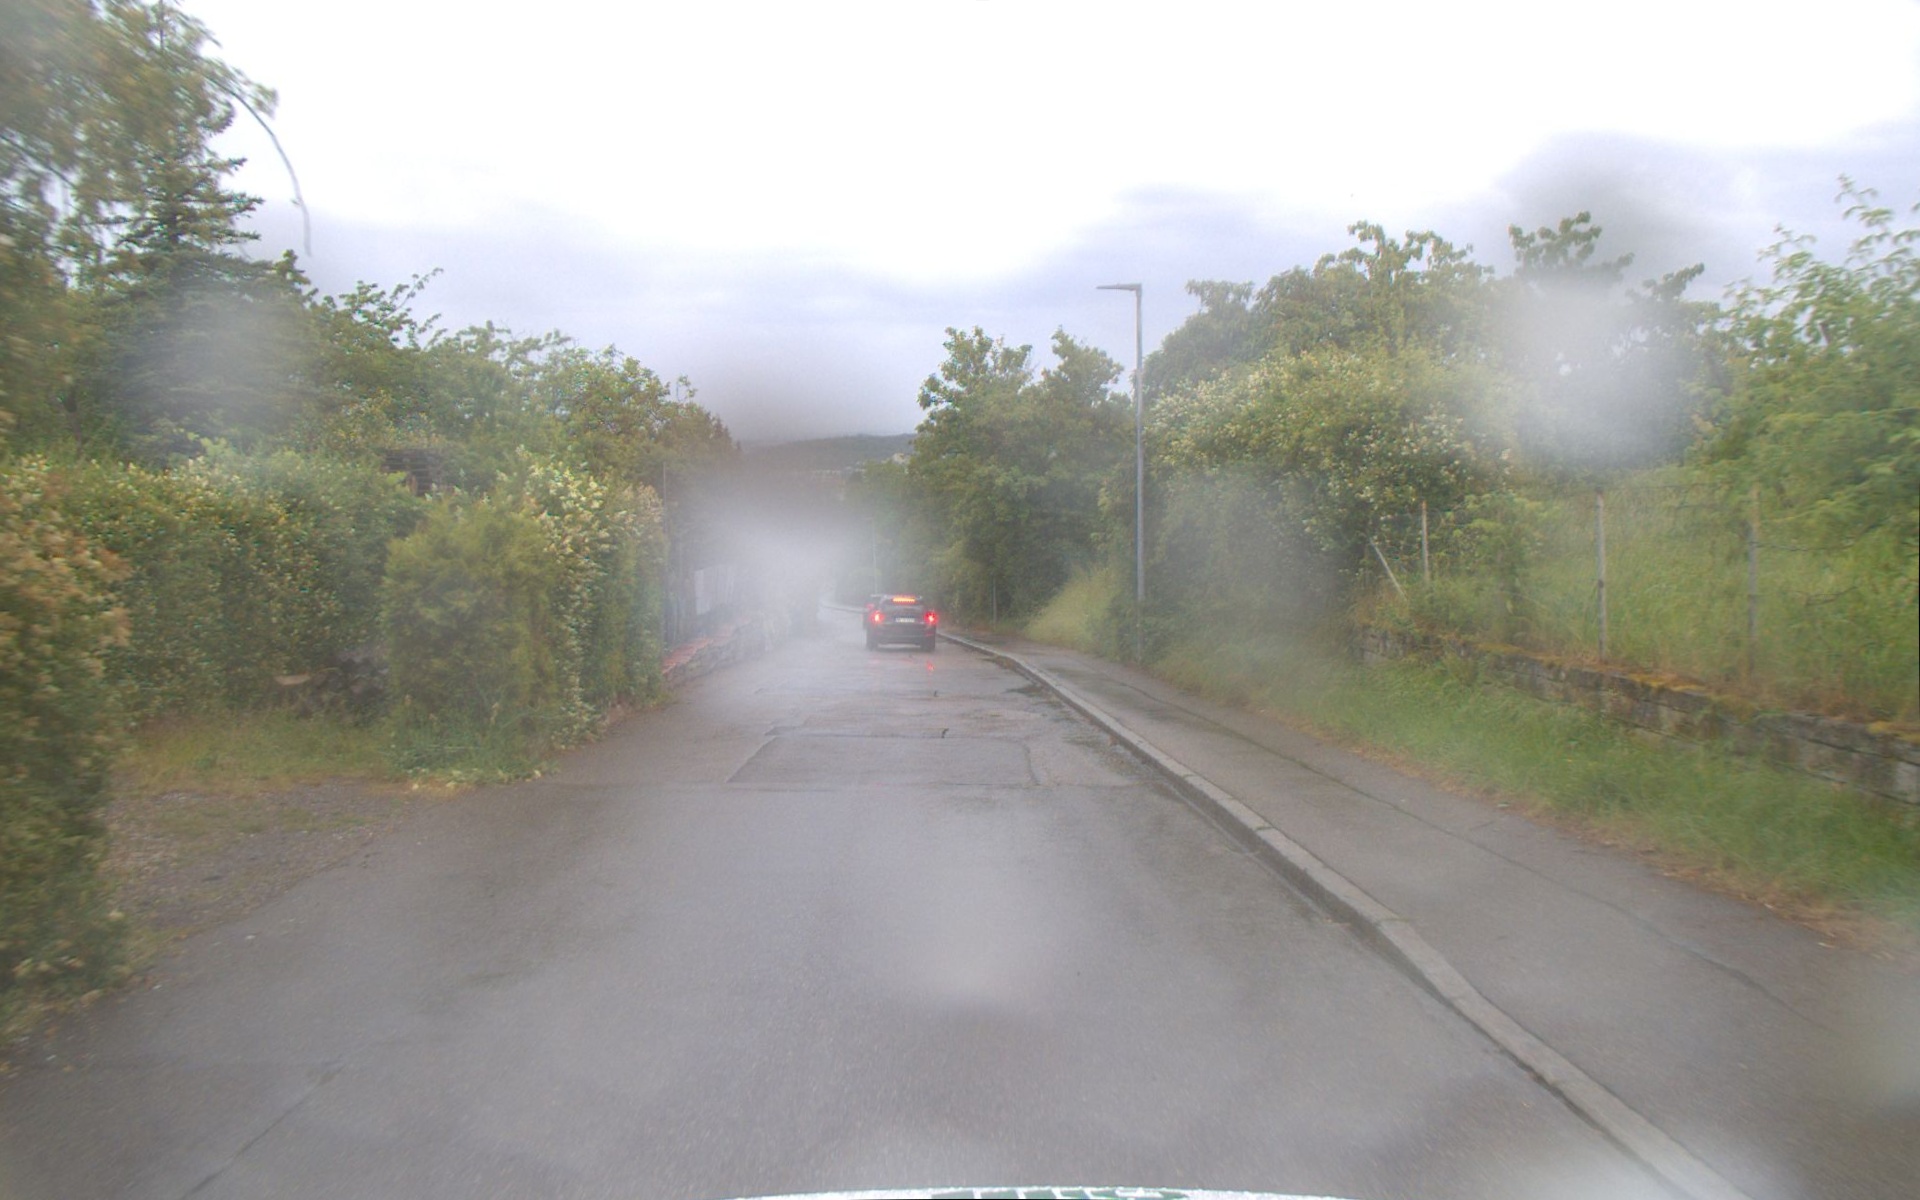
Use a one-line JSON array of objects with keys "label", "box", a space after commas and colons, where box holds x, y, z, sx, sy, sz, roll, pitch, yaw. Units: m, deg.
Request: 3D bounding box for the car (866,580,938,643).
[{"label": "car", "box": [-1.590, 0.277, 44.183, 1.798, 1.489, 3.998, -2, 2, -3]}]

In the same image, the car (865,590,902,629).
[{"label": "car", "box": [-3.465, 0.404, 75.519, 1.644, 1.592, 3.794, 0, 3, -2]}]
